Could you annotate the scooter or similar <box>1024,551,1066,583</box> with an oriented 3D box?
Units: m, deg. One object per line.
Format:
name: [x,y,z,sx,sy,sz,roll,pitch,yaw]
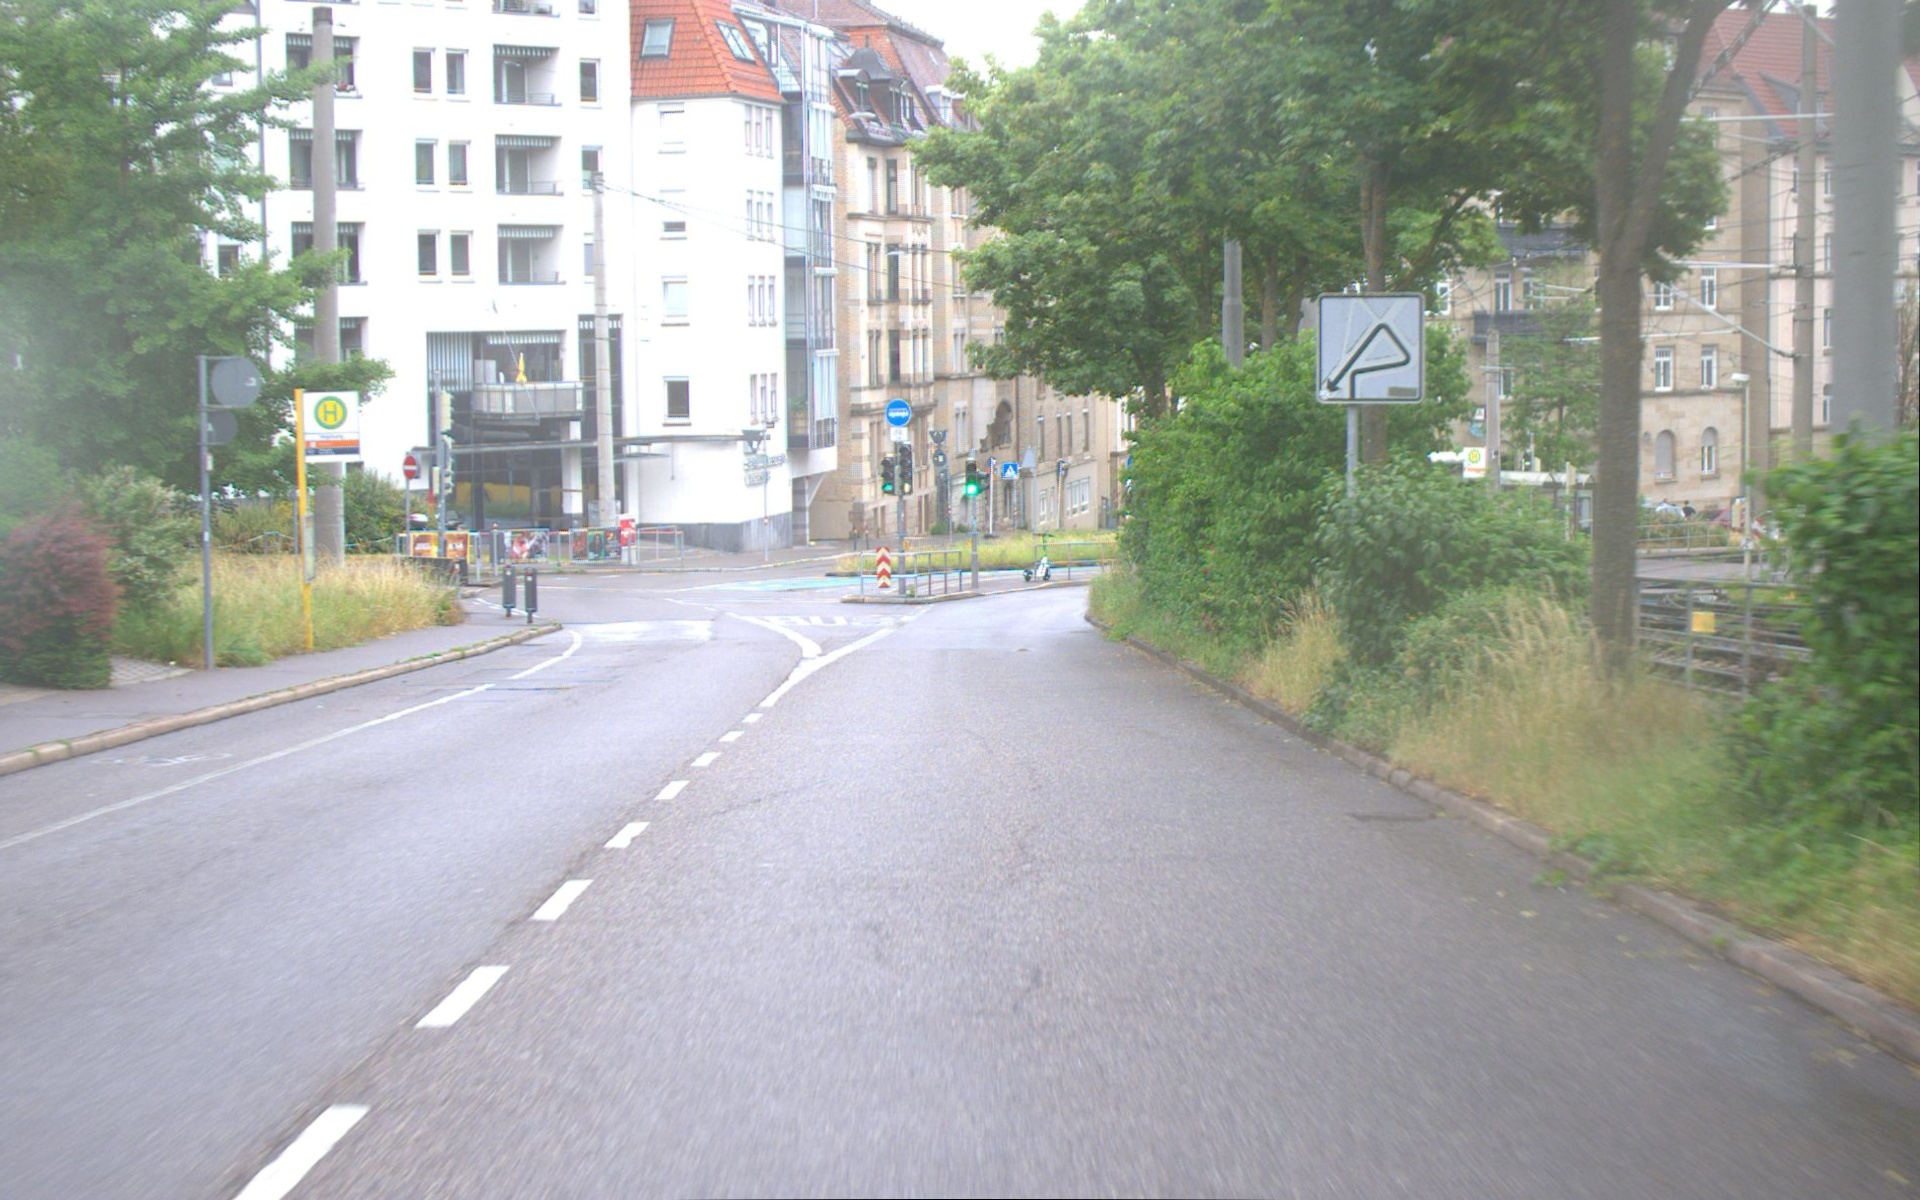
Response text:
scooter or similar: [2.051,-0.795,82.763,0.485,0.759,1.328,0,1,28]

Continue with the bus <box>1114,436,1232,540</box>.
bus: [6.065,-3.146,97.549,1.996,2.861,3.995,0,1,26]
